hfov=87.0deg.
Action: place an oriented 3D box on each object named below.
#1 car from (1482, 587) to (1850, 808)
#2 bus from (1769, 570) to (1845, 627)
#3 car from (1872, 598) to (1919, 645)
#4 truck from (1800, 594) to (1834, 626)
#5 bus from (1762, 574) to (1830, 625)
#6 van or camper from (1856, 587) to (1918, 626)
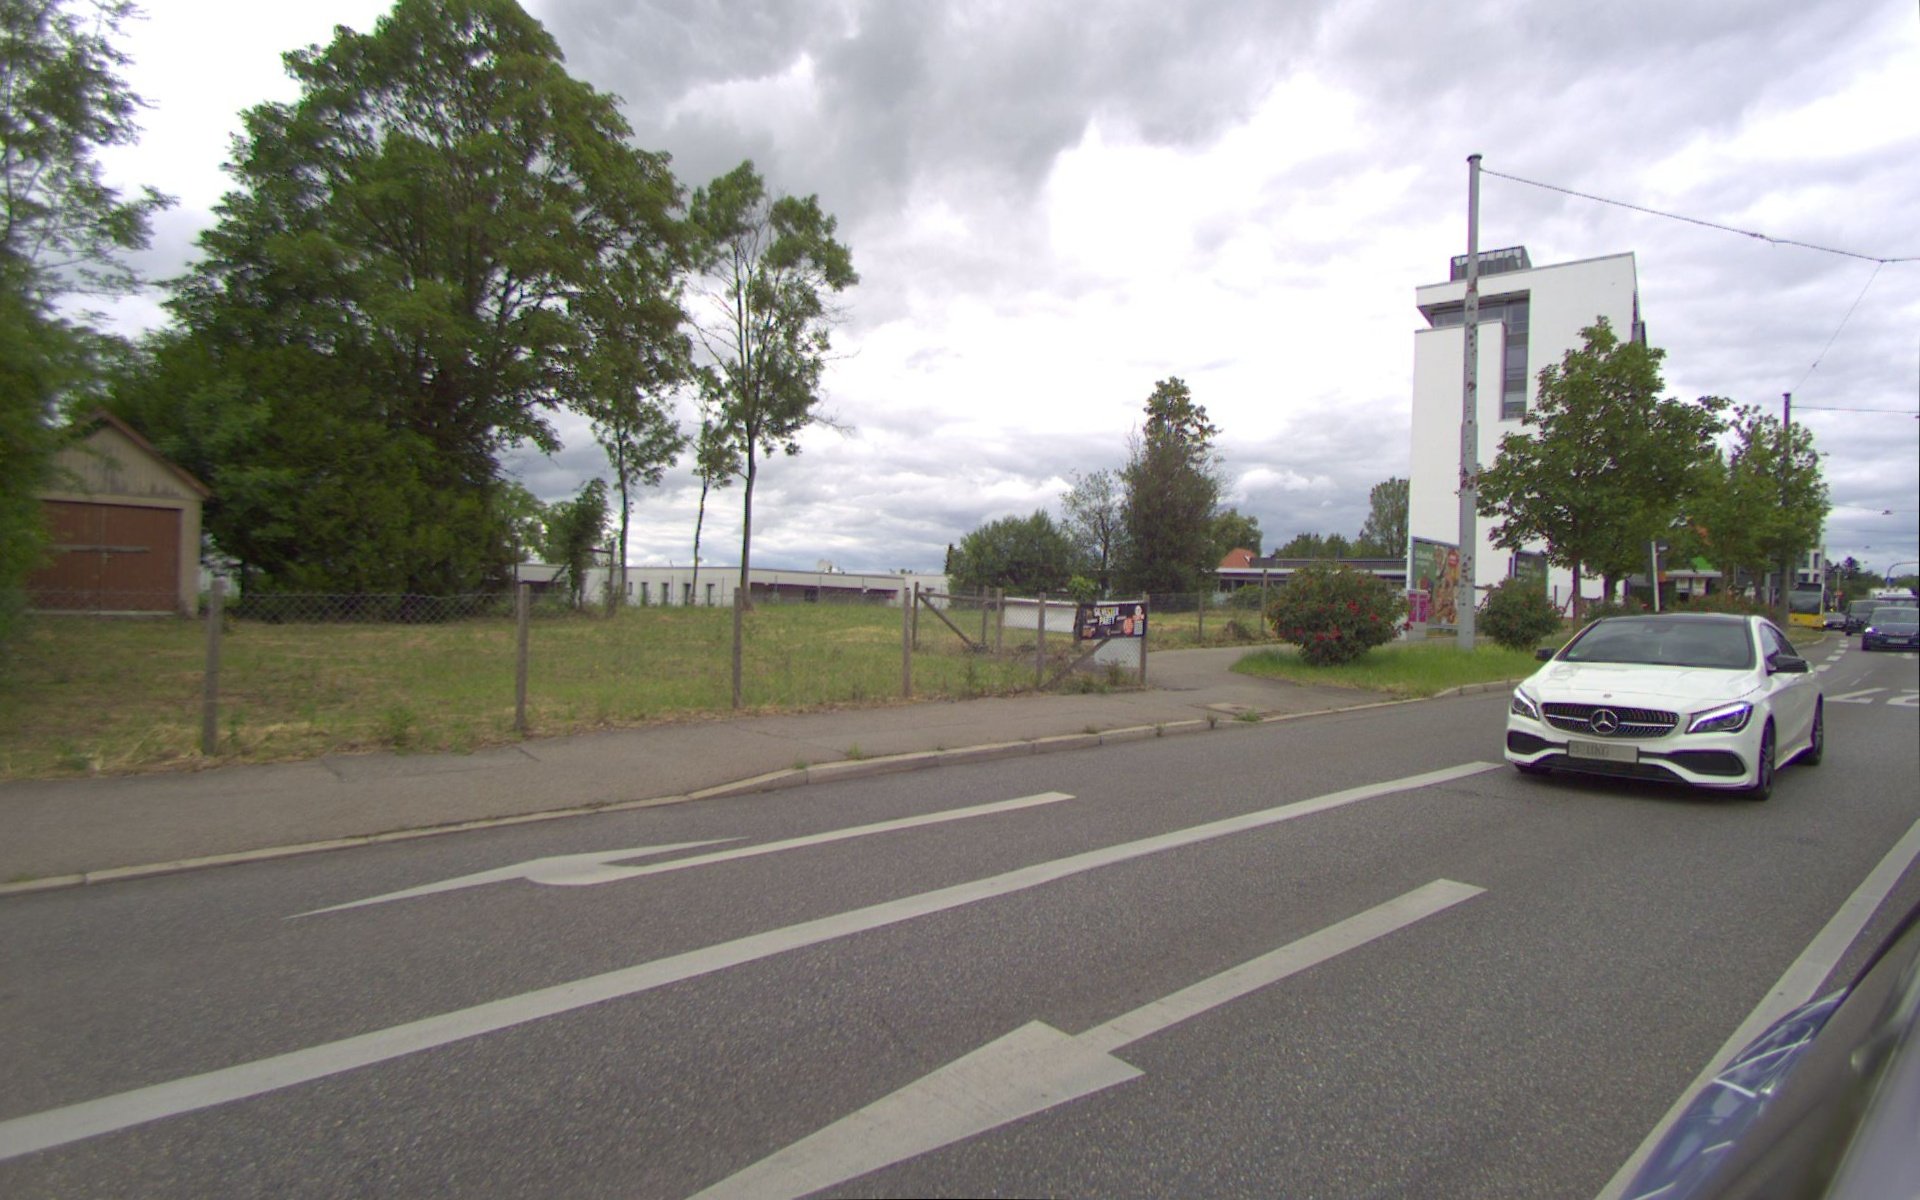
[{"bbox_3d":[6.640,0.674,9.275,4.693,1.524,1.869,0,0,-44],"label":"car"},{"bbox_3d":[52.898,-0.097,63.427,2.975,3.282,9.734,1,0,37],"label":"bus"},{"bbox_3d":[32.047,0.712,34.252,1.730,1.501,4.302,0,0,42],"label":"car"},{"bbox_3d":[115.406,1.320,136.366,2.934,4.007,9.035,4,1,38],"label":"truck"},{"bbox_3d":[58.433,-0.008,70.917,3.028,3.276,9.214,2,0,36],"label":"bus"},{"bbox_3d":[46.712,0.329,50.949,4.764,1.902,1.807,1,0,-41],"label":"van or camper"}]
